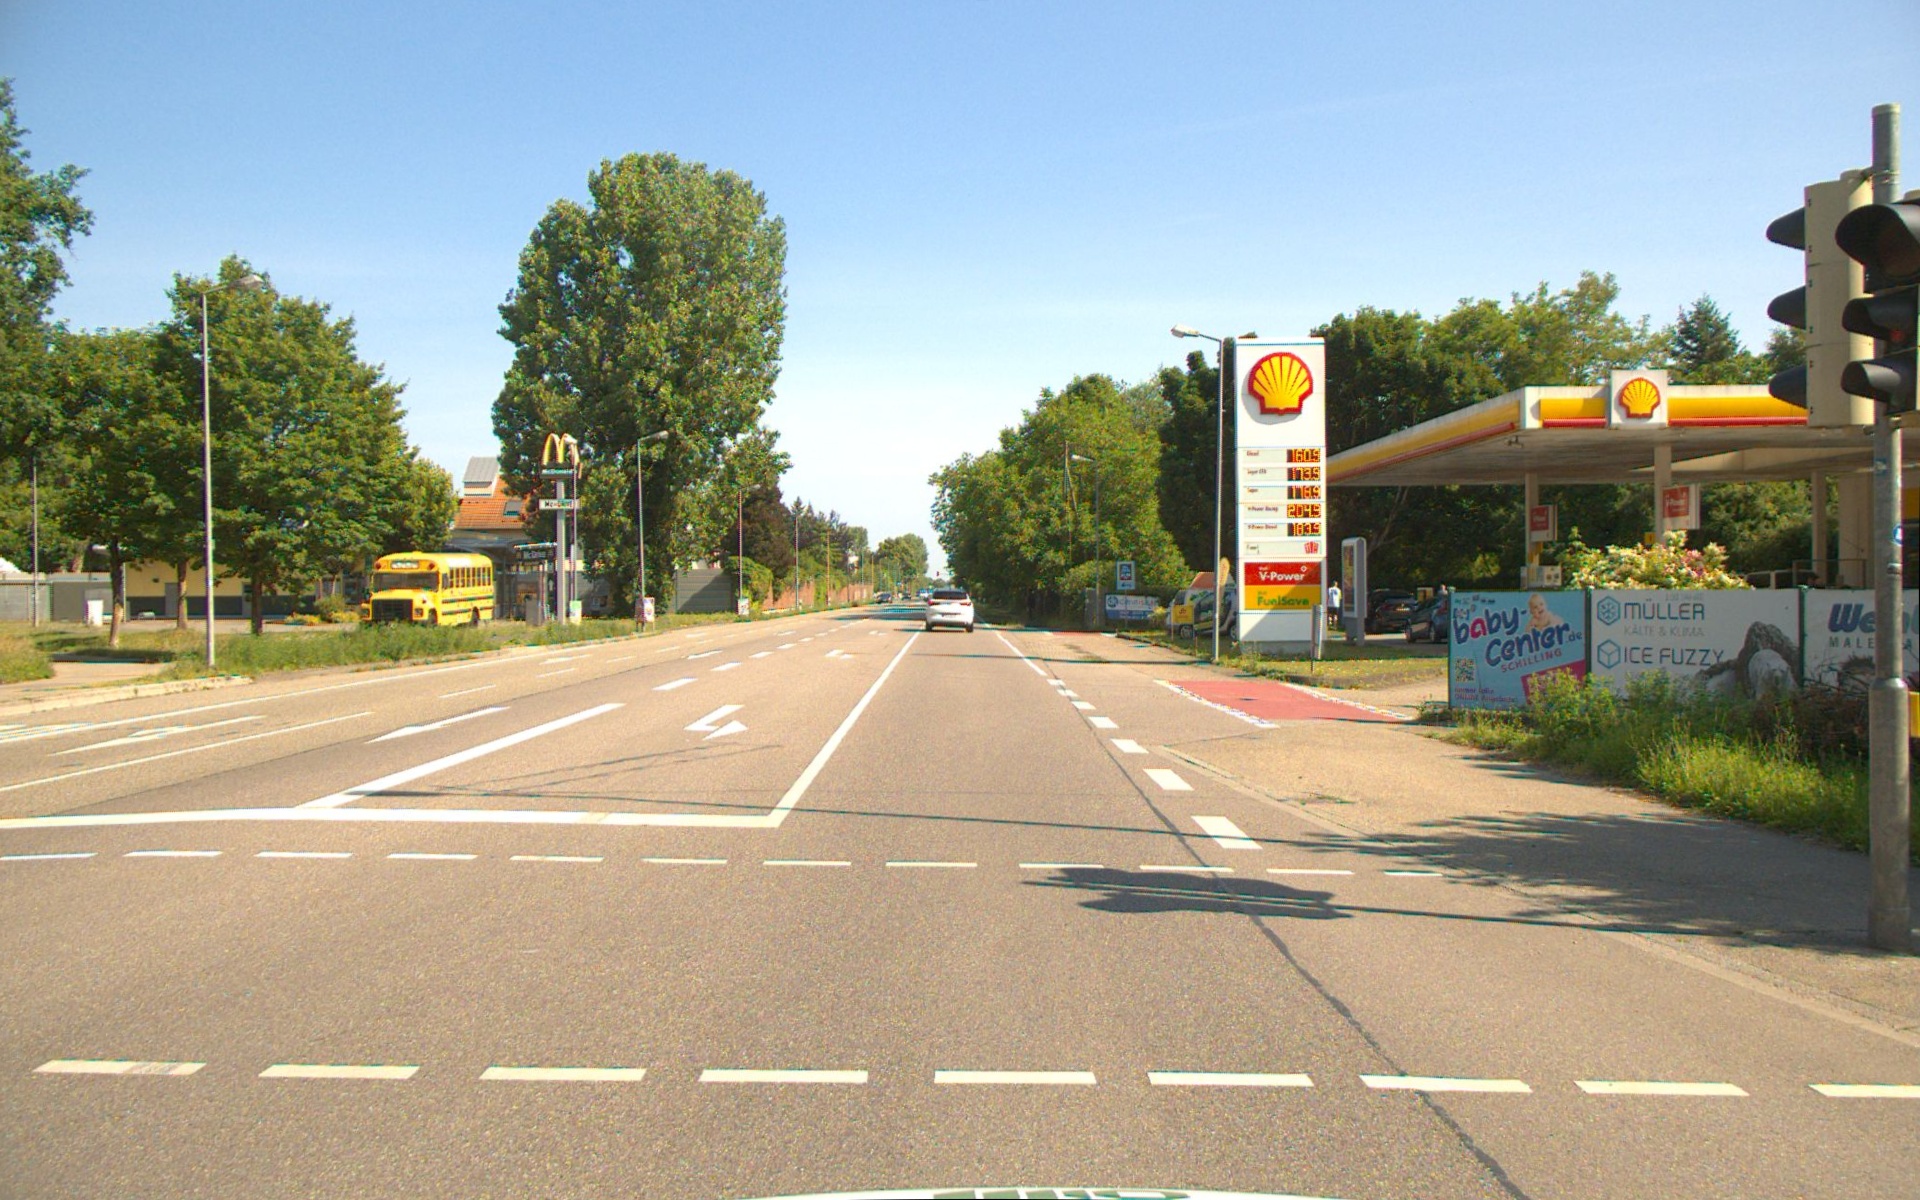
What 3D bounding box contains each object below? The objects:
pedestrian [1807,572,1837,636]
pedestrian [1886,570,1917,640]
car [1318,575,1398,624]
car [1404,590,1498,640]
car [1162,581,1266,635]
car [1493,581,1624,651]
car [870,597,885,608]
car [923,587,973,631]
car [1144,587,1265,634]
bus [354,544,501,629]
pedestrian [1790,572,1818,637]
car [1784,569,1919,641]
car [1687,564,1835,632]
[{"bbox_3d":[21.733,0.099,41.705,0.488,1.621,0.476,-1,0,3],"label":"pedestrian"},{"bbox_3d":[22.922,0.118,40.262,0.464,1.697,0.501,-1,0,1],"label":"pedestrian"},{"bbox_3d":[15.466,-0.025,64.506,1.954,1.796,3.998,1,0,-3],"label":"car"},{"bbox_3d":[14.338,0.414,48.513,1.760,1.384,3.849,-1,0,2],"label":"car"},{"bbox_3d":[7.615,0.259,49.591,2.684,1.557,1.567,0,-2,44],"label":"car"},{"bbox_3d":[14.623,0.361,40.626,1.724,1.606,3.876,-1,0,-2],"label":"car"},{"bbox_3d":[-11.593,0.358,232.531,1.809,1.522,4.911,-2,0,0],"label":"car"},{"bbox_3d":[-0.451,0.337,63.111,1.809,1.568,4.224,1,0,0],"label":"car"},{"bbox_3d":[8.600,0.366,58.342,3.911,1.557,1.583,1,0,-8],"label":"car"},{"bbox_3d":[-18.611,-0.424,58.454,2.527,2.726,8.993,1,0,-2],"label":"bus"},{"bbox_3d":[21.763,0.112,42.642,0.488,1.660,0.476,-1,0,3],"label":"pedestrian"},{"bbox_3d":[23.045,0.122,42.633,1.789,1.758,4.002,-1,0,3],"label":"car"},{"bbox_3d":[23.007,-0.067,47.721,1.814,1.870,4.779,-1,0,-2],"label":"car"}]
